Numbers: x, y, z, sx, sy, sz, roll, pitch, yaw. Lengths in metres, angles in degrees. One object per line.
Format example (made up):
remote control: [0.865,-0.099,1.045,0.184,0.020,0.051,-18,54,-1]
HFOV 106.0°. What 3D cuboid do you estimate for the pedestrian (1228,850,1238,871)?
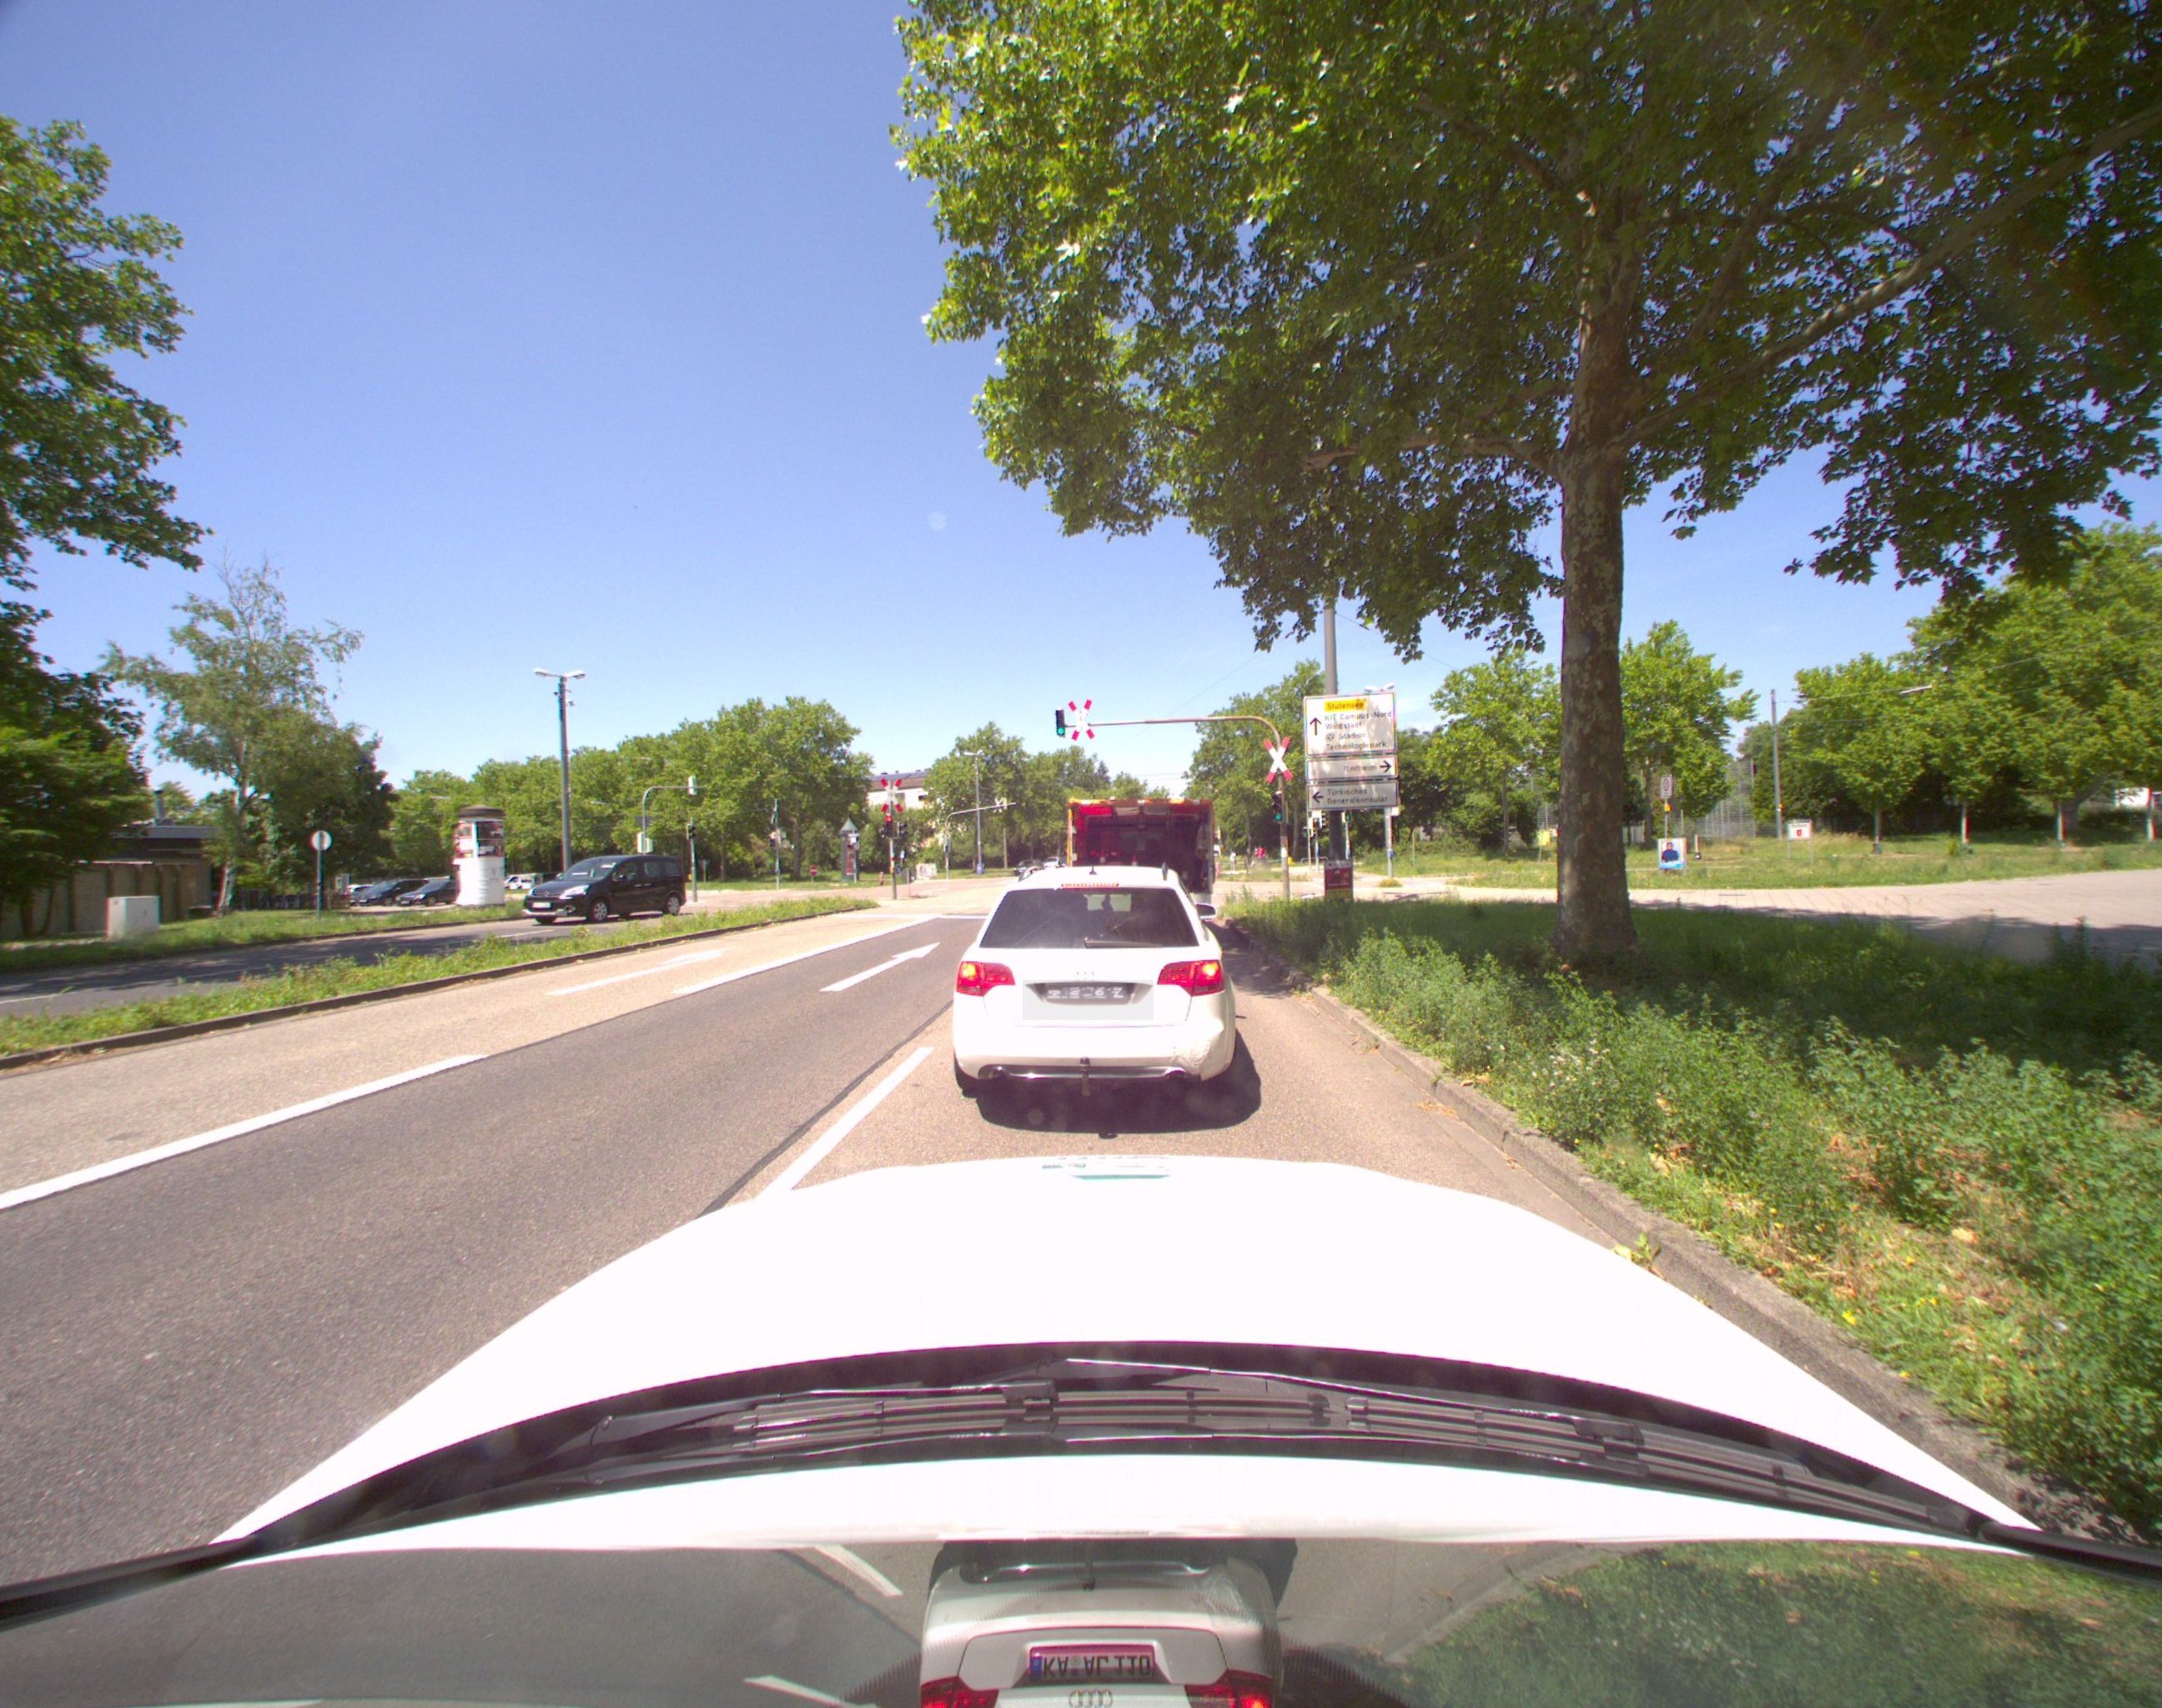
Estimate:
pedestrian: [10.853,0.451,58.198,0.548,1.484,0.632,-2,0,18]

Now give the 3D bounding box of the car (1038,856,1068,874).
car: [-2.768,1.076,80.990,1.774,1.615,4.421,-2,0,14]

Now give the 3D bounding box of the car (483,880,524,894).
car: [-66.229,3.738,93.418,1.481,1.397,3.572,-2,0,29]

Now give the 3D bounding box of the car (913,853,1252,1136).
car: [0.183,0.733,6.052,1.754,1.445,3.622,-1,0,6]

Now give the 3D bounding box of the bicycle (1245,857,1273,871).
bicycle: [12.159,0.702,55.688,1.795,0.896,0.590,-2,-1,7]

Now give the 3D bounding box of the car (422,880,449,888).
car: [-88.139,4.122,111.238,0.996,0.994,2.738,-2,0,31]

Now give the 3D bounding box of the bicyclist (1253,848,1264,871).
bicyclist: [12.130,0.375,55.695,0.668,1.556,0.581,-2,-1,8]

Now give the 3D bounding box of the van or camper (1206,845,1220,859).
van or camper: [32.282,-0.496,199.191,2.640,3.331,5.524,-2,0,16]

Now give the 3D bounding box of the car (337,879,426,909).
car: [-44.839,2.550,52.353,1.769,1.651,4.201,-2,0,6]

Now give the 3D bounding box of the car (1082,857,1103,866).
car: [2.010,1.319,139.382,1.864,1.393,4.025,-2,0,28]

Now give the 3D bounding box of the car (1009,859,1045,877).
car: [-4.848,1.233,73.931,1.936,1.440,4.762,-1,0,12]

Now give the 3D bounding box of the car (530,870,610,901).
car: [-29.409,1.810,46.857,4.403,1.604,2.231,-2,0,34]

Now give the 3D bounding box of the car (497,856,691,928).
car: [-12.935,0.935,22.032,1.898,1.679,4.459,-2,0,12]

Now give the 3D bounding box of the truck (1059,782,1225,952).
truck: [1.260,0.226,16.190,2.499,2.559,7.613,0,0,5]

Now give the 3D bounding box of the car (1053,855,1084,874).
car: [-1.128,0.920,74.326,1.897,1.539,4.312,-2,0,11]

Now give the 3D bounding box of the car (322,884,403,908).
car: [-51.830,3.020,58.852,1.930,1.423,4.070,-2,0,8]
